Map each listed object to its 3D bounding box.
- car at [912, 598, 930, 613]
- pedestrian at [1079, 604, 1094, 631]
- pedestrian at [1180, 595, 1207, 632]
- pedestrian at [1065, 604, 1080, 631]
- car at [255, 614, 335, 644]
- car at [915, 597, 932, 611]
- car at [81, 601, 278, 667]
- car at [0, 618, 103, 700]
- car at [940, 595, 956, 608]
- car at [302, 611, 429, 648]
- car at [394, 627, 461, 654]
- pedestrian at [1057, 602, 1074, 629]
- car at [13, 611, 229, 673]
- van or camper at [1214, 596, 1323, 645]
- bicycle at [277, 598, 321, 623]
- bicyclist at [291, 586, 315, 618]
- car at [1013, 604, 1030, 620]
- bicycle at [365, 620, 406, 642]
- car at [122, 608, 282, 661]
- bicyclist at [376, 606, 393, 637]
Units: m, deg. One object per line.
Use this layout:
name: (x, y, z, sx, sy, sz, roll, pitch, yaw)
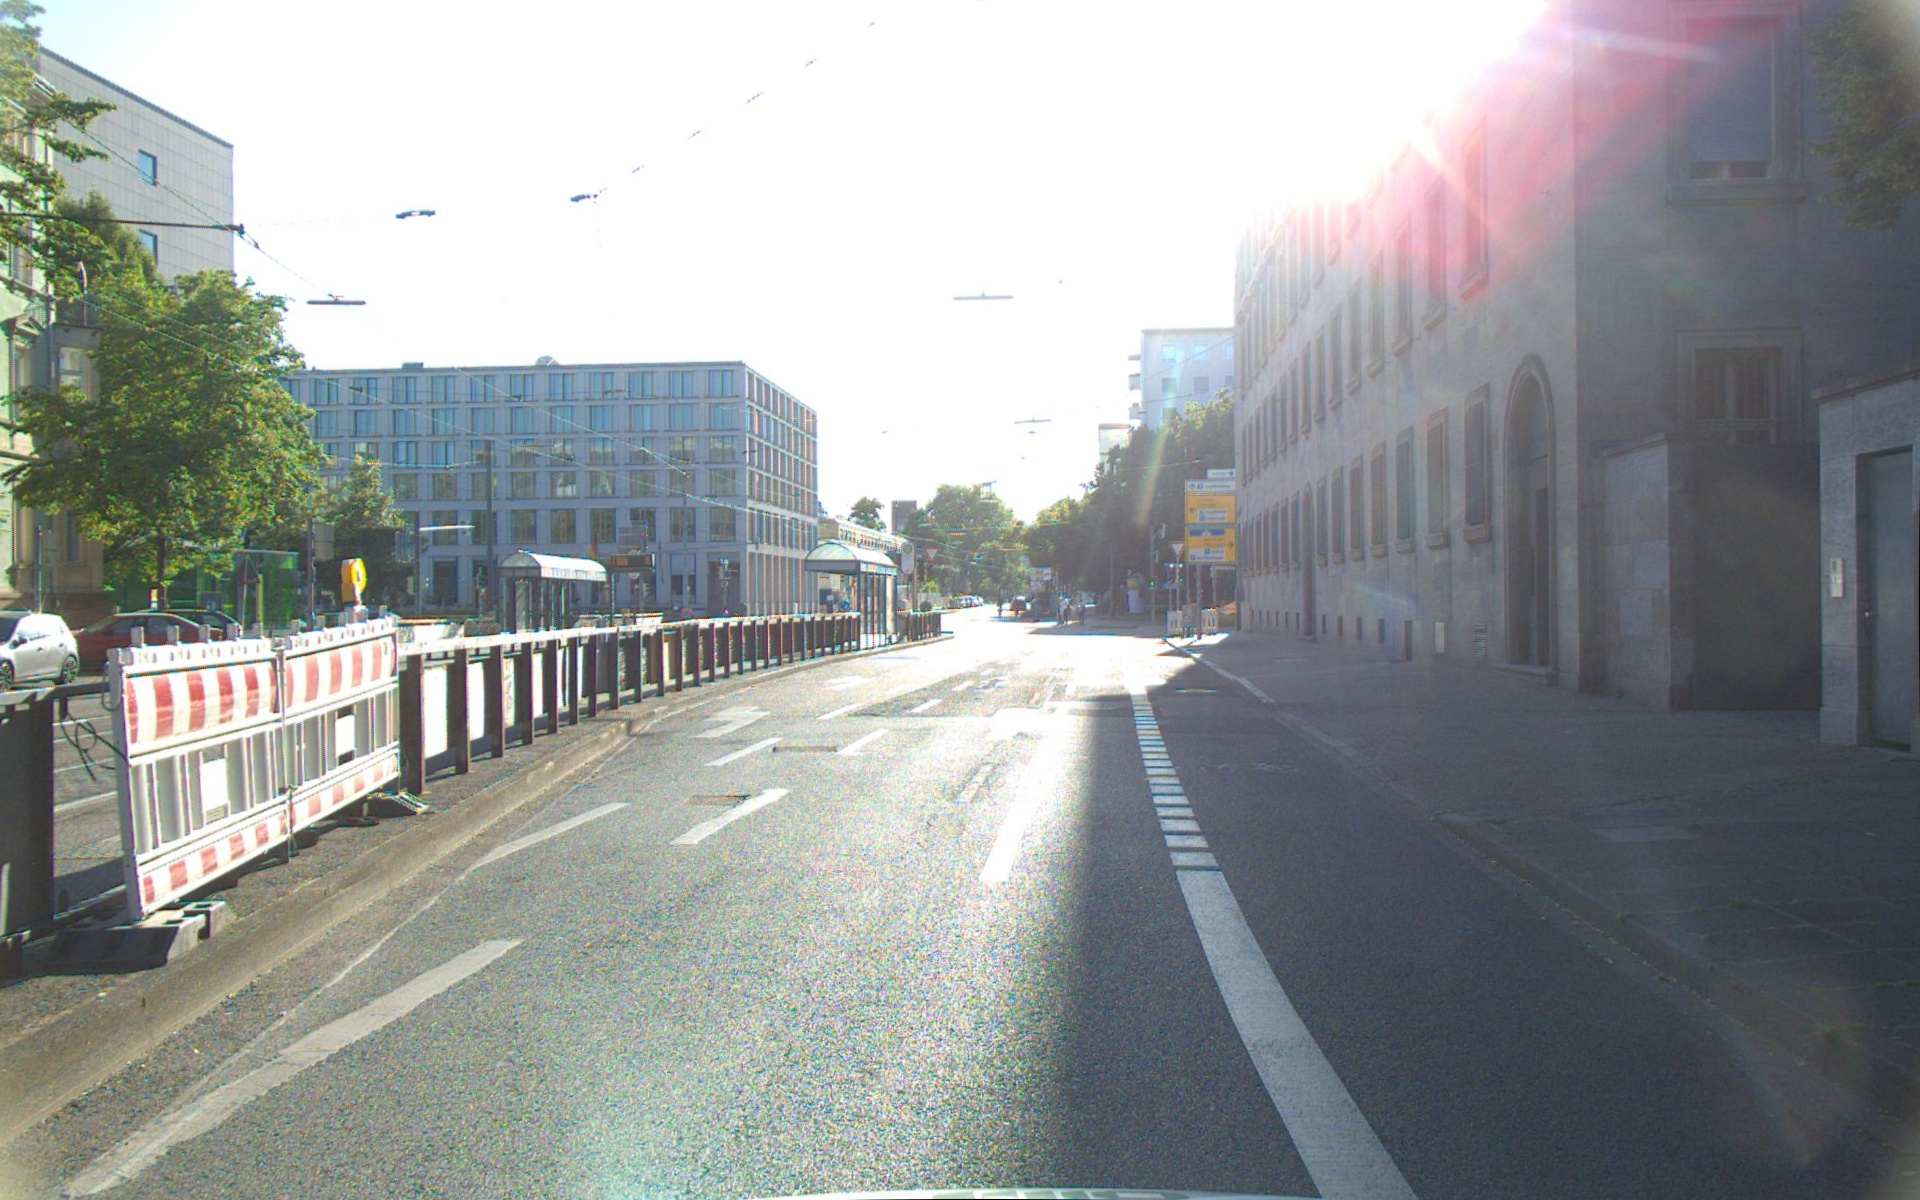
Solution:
car: (-4.700, 0.636, 201.433, 1.781, 1.742, 3.808, -1, 0, 5)
pedestrian: (8.586, 1.213, 112.153, 0.832, 1.815, 0.778, -1, -1, -11)
pedestrian: (11.134, 0.628, 78.996, 1.019, 1.751, 1.034, -1, -1, -6)
pedestrian: (7.686, 1.172, 113.214, 0.832, 1.815, 0.778, -1, -1, -11)
car: (-33.797, 1.464, 84.116, 3.456, 1.532, 1.523, 0, 0, 3)
car: (-4.675, 0.527, 212.350, 1.781, 1.742, 3.808, -1, 0, 5)
car: (-20.710, 0.912, 44.001, 4.474, 1.670, 1.567, 2, -2, -41)
car: (-18.253, 1.086, 31.638, 1.672, 1.435, 4.289, 1, -1, -4)
car: (-1.636, 0.199, 223.824, 1.781, 1.742, 3.808, -1, 0, 5)
car: (-23.036, 1.161, 64.108, 4.448, 1.374, 1.576, 1, -2, -28)
car: (-31.340, 2.395, 97.425, 3.456, 1.532, 1.523, 0, 0, 3)
pedestrian: (7.124, 1.039, 111.328, 0.948, 1.815, 0.778, -1, -1, -11)
car: (-20.746, 1.055, 40.991, 4.472, 1.451, 1.846, 2, -2, -40)
van or camper: (19.326, 1.292, 103.730, 6.565, 2.912, 2.913, 1, -1, 10)
bicycle: (-35.272, 0.555, 88.289, 2.004, 1.311, 0.887, -1, -1, 11)
bicyclist: (-35.067, 0.110, 88.262, 0.871, 1.724, 0.845, -1, -1, 11)
car: (6.852, 1.349, 183.799, 1.649, 1.768, 3.510, 1, -1, 5)
bicycle: (-30.340, 1.631, 87.312, 1.882, 1.142, 0.791, -1, -1, 12)
car: (-23.677, 1.088, 51.722, 4.448, 1.597, 1.576, 1, -2, -28)
bicyclist: (-30.373, 1.124, 87.315, 0.605, 1.610, 0.594, -1, -1, 12)
